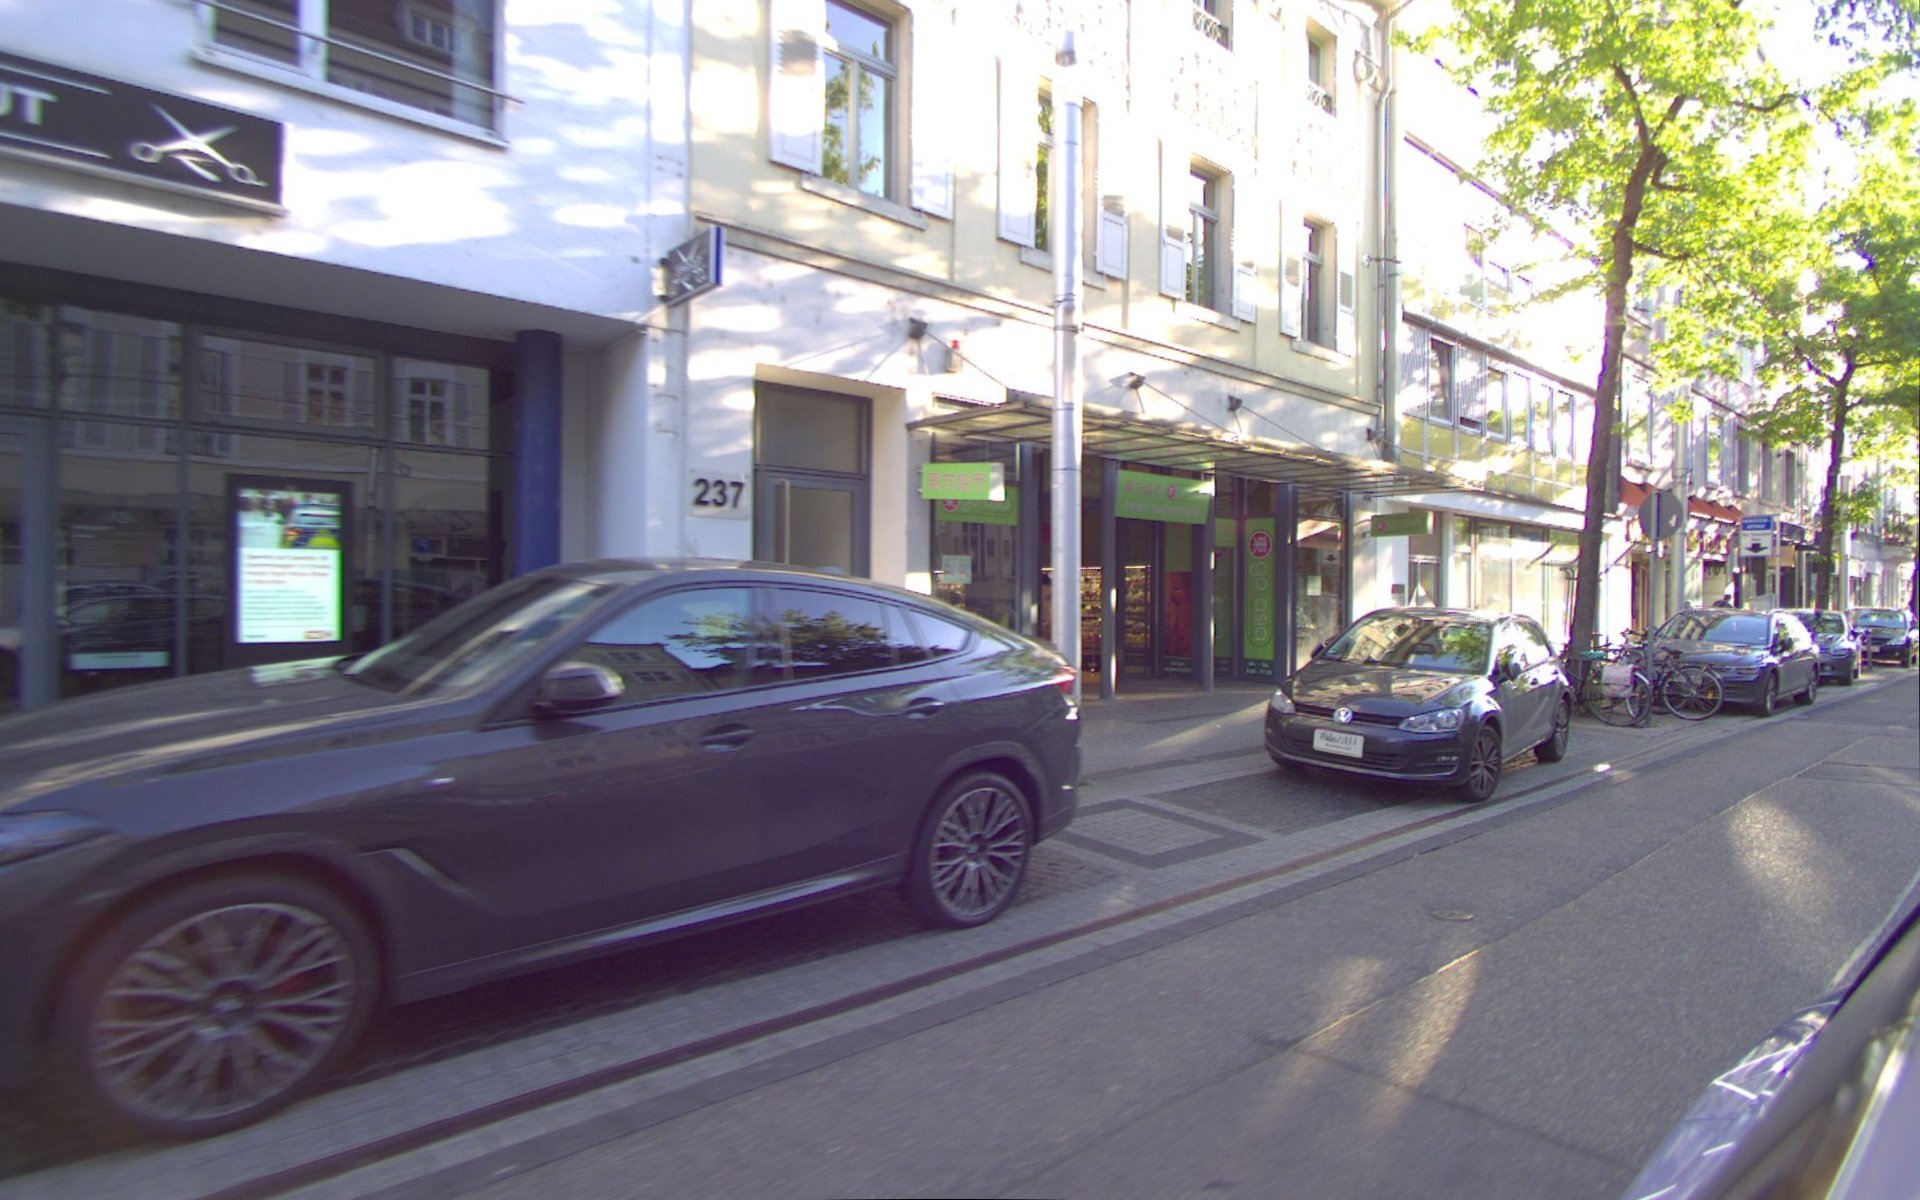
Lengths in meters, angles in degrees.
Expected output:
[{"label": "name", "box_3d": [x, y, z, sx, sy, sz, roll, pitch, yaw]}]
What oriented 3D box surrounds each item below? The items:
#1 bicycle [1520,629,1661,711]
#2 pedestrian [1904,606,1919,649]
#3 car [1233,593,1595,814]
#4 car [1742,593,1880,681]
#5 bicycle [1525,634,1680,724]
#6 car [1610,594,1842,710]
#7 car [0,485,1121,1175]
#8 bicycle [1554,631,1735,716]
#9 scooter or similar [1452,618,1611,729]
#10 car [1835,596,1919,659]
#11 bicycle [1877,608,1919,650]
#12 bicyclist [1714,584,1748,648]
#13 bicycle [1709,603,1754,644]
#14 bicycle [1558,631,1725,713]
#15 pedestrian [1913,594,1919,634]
[{"label": "bicycle", "box_3d": [8.411, 0.908, 13.558, 0.486, 0.976, 1.544, 0, 0, -33]}, {"label": "pedestrian", "box_3d": [29.135, 0.826, 30.553, 0.575, 1.281, 0.820, 0, 0, -35]}, {"label": "car", "box_3d": [4.346, 0.737, 9.364, 1.838, 1.453, 3.938, 6, 4, 42]}, {"label": "car", "box_3d": [17.540, 0.681, 20.808, 1.816, 1.504, 3.936, 6, 4, 44]}, {"label": "bicycle", "box_3d": [7.873, 0.938, 12.453, 0.486, 0.976, 1.543, 0, 0, -36]}, {"label": "car", "box_3d": [11.828, 0.695, 15.546, 4.031, 1.471, 1.876, 0, 3, -39]}, {"label": "car", "box_3d": [-1.595, 0.569, 4.576, 4.781, 1.735, 1.997, 0, 0, -41]}, {"label": "bicycle", "box_3d": [9.068, 0.937, 13.504, 0.277, 0.976, 2.044, 0, 0, -35]}, {"label": "scooter or similar", "box_3d": [6.882, 0.842, 12.247, 0.662, 1.211, 1.543, 0, 0, -36]}, {"label": "car", "box_3d": [24.390, 0.672, 26.503, 3.593, 1.476, 1.803, -1, 3, -43]}, {"label": "bicycle", "box_3d": [27.864, 0.862, 29.415, 0.535, 1.152, 1.736, 0, 2, -20]}, {"label": "bicyclist", "box_3d": [21.203, 0.430, 27.837, 0.589, 1.705, 0.640, 0, 1, -42]}, {"label": "bicycle", "box_3d": [21.313, 0.627, 27.941, 1.829, 1.087, 0.648, 0, 1, -42]}, {"label": "bicycle", "box_3d": [9.251, 0.948, 13.815, 0.326, 0.976, 1.903, 0, 0, -35]}, {"label": "pedestrian", "box_3d": [40.126, 0.586, 41.959, 0.742, 1.663, 0.804, 1, 1, -40]}]
